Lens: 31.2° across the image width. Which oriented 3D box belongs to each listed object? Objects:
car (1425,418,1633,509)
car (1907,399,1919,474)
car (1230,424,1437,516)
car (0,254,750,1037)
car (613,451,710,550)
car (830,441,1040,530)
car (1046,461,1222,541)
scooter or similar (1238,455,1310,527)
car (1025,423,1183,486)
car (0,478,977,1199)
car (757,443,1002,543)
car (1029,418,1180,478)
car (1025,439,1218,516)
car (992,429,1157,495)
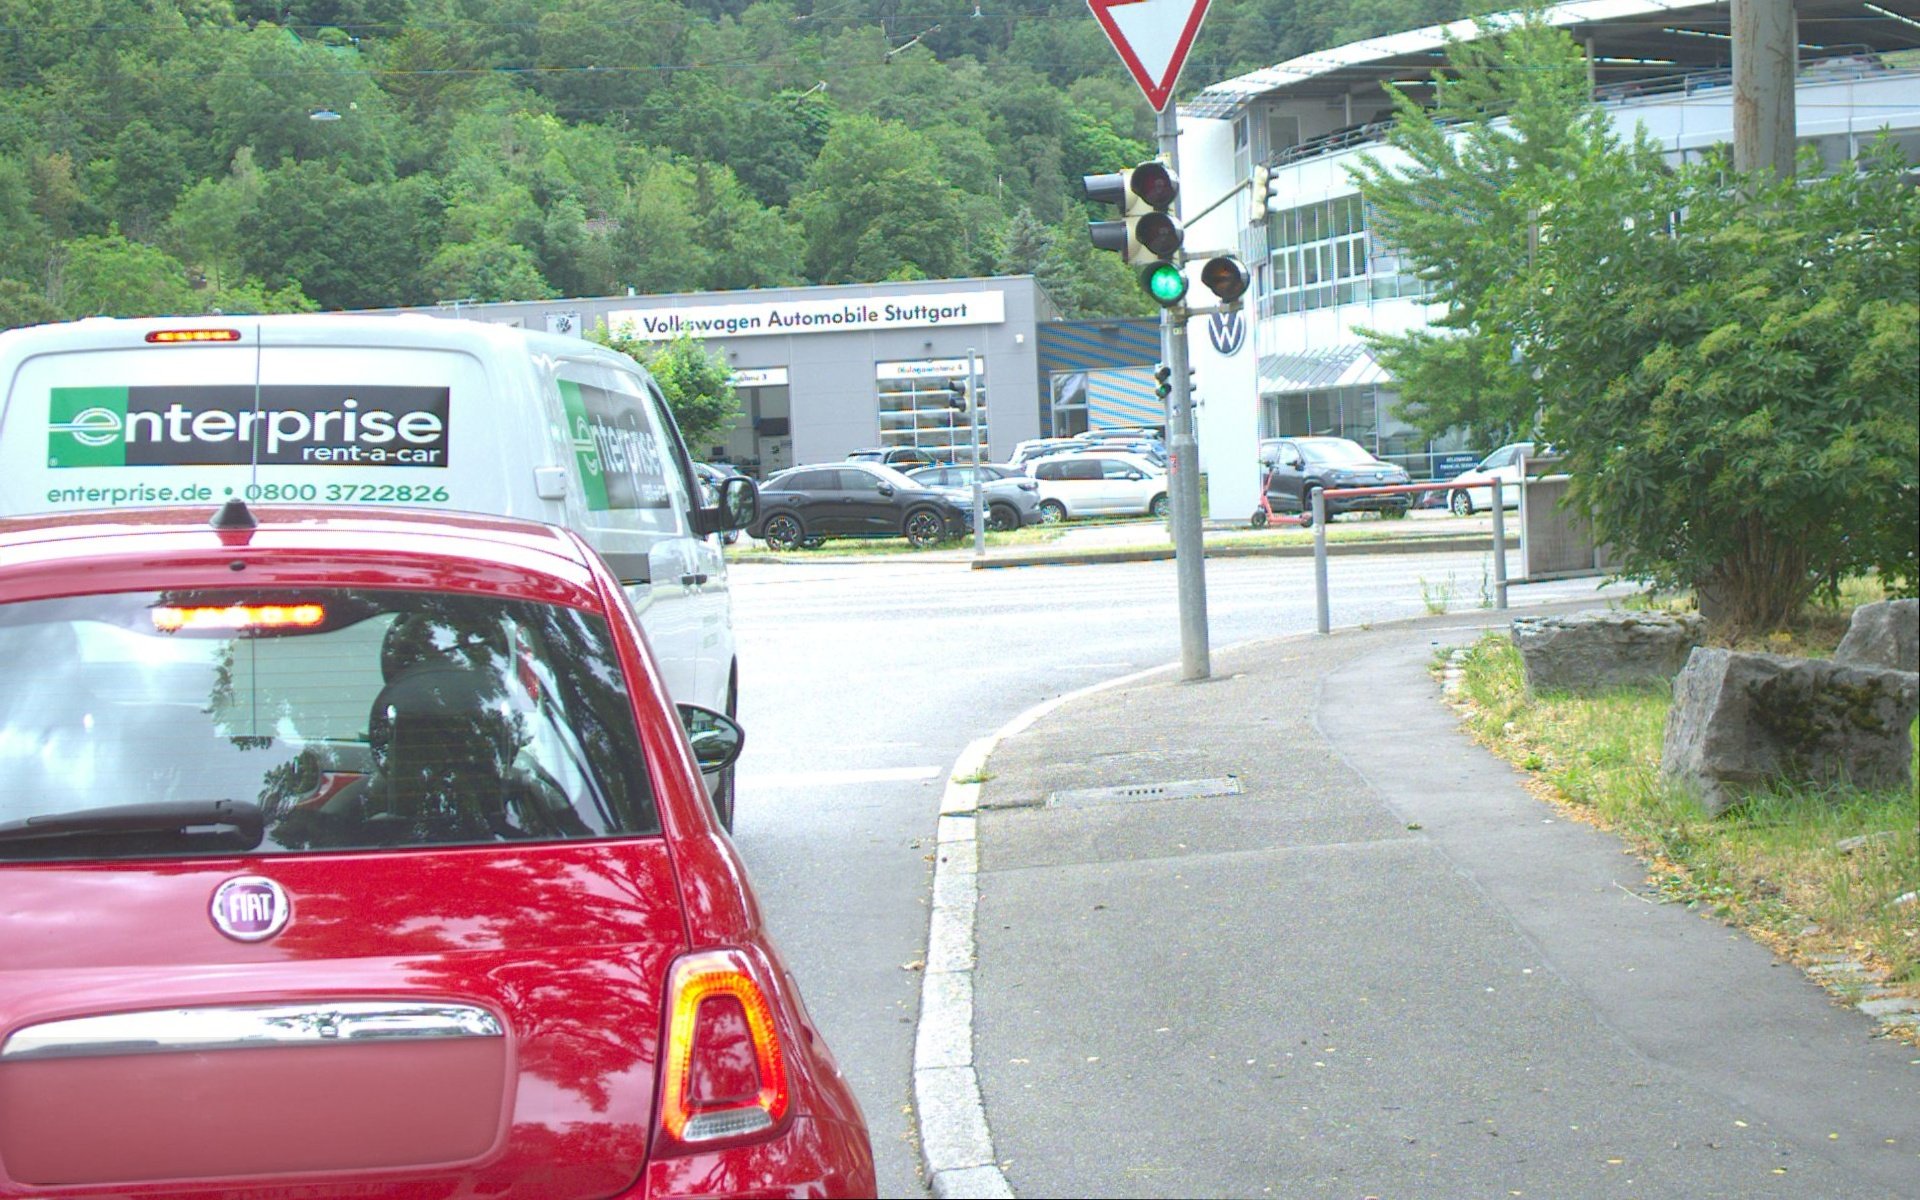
[{"bbox_3d":[11.064,-2.633,67.105,1.993,1.634,4.001,1,1,-27],"label":"car"},{"bbox_3d":[21.782,-3.476,71.223,1.921,1.548,4.001,-4,3,-27],"label":"car"},{"bbox_3d":[7.046,-2.440,65.203,1.993,1.634,4.001,-2,2,-27],"label":"car"},{"bbox_3d":[-1.908,-0.017,11.425,1.998,2.033,4.832,1,3,1],"label":"car"},{"bbox_3d":[-6.838,-2.256,79.157,1.993,2.007,5.018,-3,0,-4],"label":"car"},{"bbox_3d":[-0.527,-2.314,70.087,3.986,1.700,2.001,1,0,-9],"label":"car"},{"bbox_3d":[4.554,-2.587,90.433,4.495,1.990,2.000,1,0,-1],"label":"car"},{"bbox_3d":[5.683,-1.973,62.228,1.200,1.283,0.575,1,0,-5],"label":"scooter or similar"},{"bbox_3d":[4.187,-4.254,100.656,4.495,1.723,2.000,1,0,-1],"label":"car"},{"bbox_3d":[-1.241,0.566,5.817,1.697,1.520,4.002,1,2,-12],"label":"car"},{"bbox_3d":[-1.411,-1.928,61.393,3.989,1.634,1.999,1,5,13],"label":"car"},{"bbox_3d":[4.422,-4.668,105.824,4.495,1.723,2.000,1,0,-1],"label":"car"},{"bbox_3d":[3.829,-2.888,81.311,4.496,1.723,2.000,1,0,4],"label":"car"},{"bbox_3d":[3.193,-3.858,96.318,4.495,1.723,2.000,1,0,-1],"label":"car"}]
